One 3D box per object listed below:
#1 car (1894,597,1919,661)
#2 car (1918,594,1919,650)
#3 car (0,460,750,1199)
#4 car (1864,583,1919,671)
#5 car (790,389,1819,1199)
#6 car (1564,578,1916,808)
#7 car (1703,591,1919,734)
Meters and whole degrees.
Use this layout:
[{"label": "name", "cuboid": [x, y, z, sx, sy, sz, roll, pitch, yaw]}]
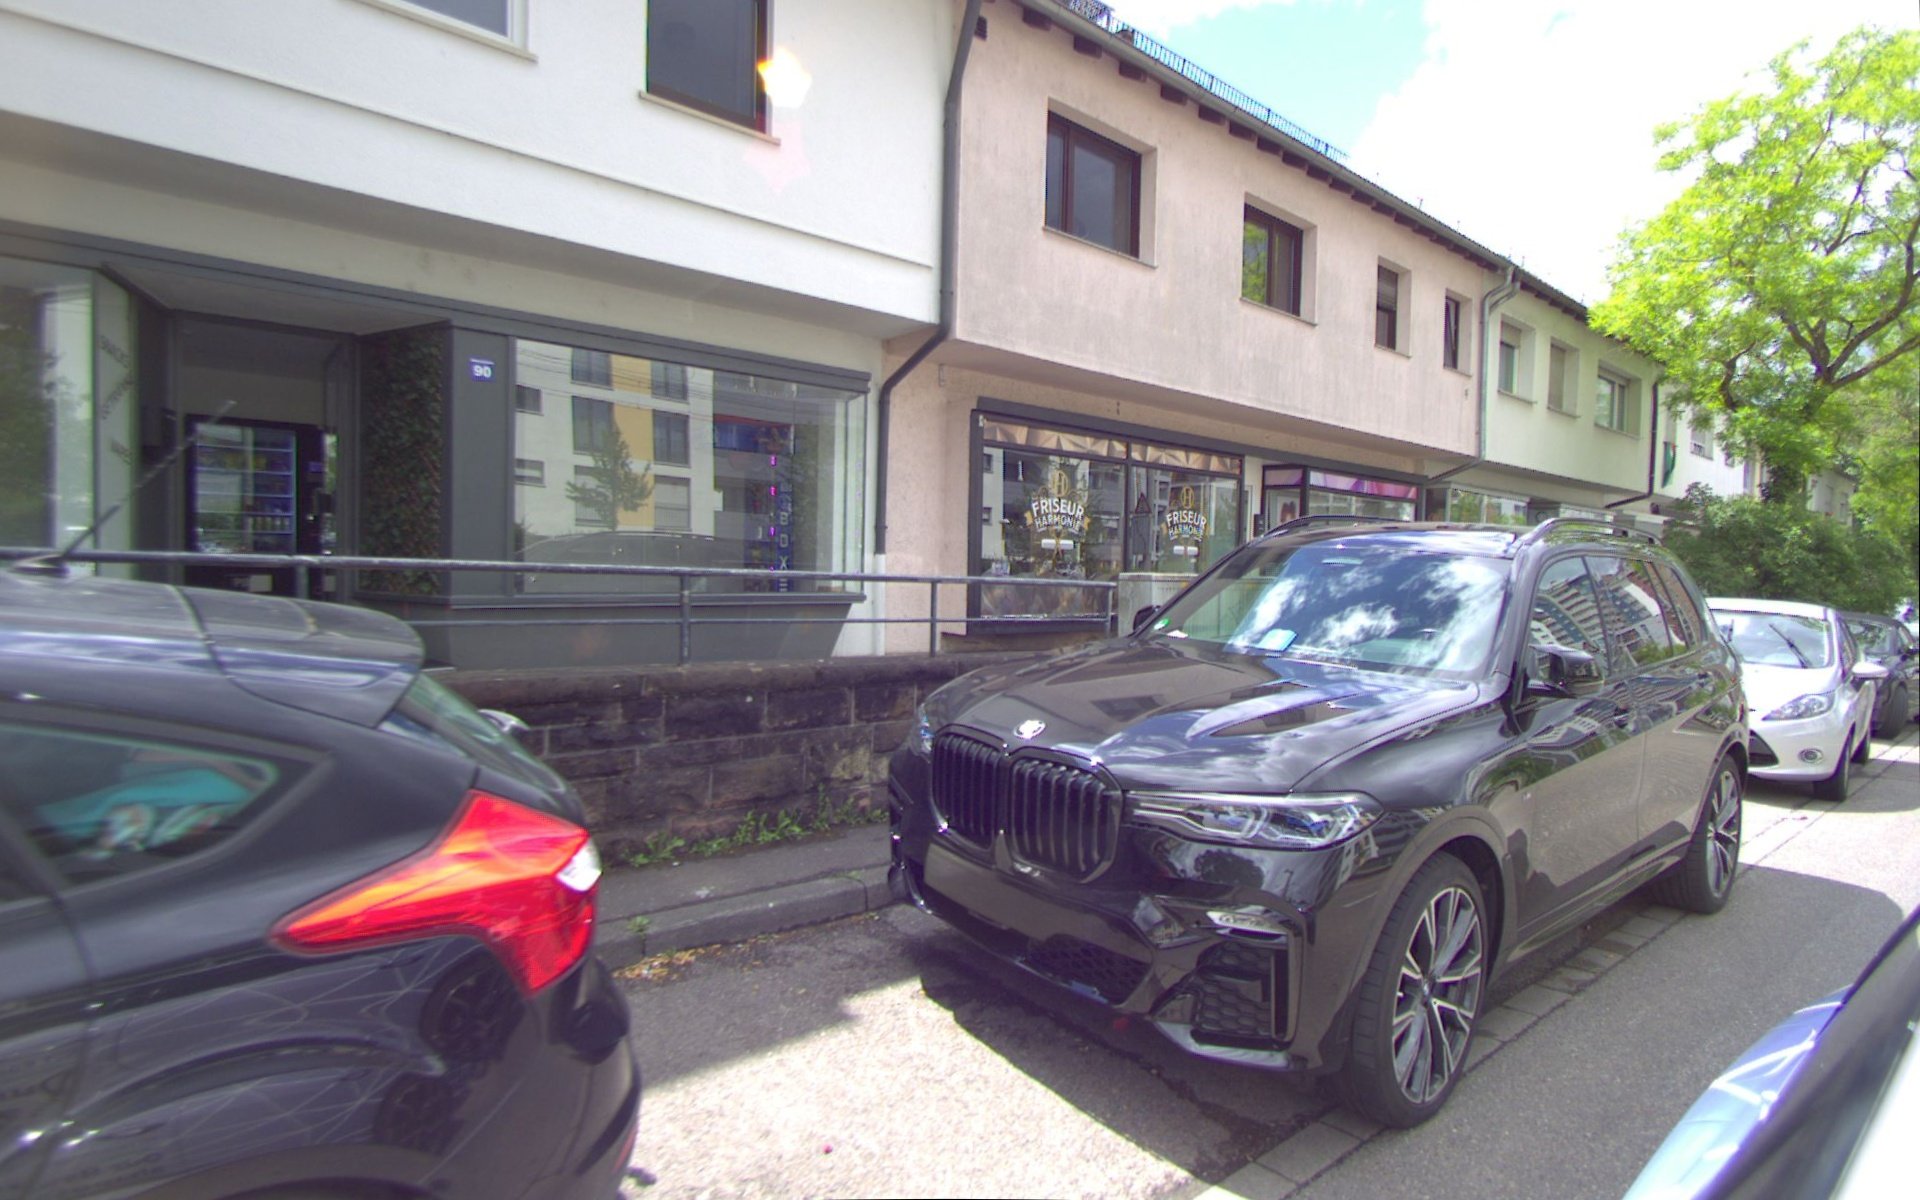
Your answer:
[{"label": "car", "cuboid": [24.034, 0.692, 24.407, 4.368, 1.444, 1.728, 0, 2, -41]}, {"label": "car", "cuboid": [28.403, 0.630, 28.251, 4.823, 1.517, 1.818, 0, 2, -39]}, {"label": "car", "cuboid": [-2.523, 0.571, 1.012, 4.169, 1.524, 1.837, 0, 3, -42]}, {"label": "car", "cuboid": [20.009, 0.518, 20.652, 4.353, 1.664, 1.840, 0, 2, -42]}, {"label": "car", "cuboid": [1.942, 0.400, 4.533, 4.985, 1.810, 2.020, 0, 3, -40]}, {"label": "car", "cuboid": [6.944, 0.607, 8.870, 3.834, 1.459, 1.774, -1, 5, -43]}, {"label": "car", "cuboid": [10.937, 0.647, 12.468, 3.926, 1.365, 1.777, 0, 4, -37]}]
